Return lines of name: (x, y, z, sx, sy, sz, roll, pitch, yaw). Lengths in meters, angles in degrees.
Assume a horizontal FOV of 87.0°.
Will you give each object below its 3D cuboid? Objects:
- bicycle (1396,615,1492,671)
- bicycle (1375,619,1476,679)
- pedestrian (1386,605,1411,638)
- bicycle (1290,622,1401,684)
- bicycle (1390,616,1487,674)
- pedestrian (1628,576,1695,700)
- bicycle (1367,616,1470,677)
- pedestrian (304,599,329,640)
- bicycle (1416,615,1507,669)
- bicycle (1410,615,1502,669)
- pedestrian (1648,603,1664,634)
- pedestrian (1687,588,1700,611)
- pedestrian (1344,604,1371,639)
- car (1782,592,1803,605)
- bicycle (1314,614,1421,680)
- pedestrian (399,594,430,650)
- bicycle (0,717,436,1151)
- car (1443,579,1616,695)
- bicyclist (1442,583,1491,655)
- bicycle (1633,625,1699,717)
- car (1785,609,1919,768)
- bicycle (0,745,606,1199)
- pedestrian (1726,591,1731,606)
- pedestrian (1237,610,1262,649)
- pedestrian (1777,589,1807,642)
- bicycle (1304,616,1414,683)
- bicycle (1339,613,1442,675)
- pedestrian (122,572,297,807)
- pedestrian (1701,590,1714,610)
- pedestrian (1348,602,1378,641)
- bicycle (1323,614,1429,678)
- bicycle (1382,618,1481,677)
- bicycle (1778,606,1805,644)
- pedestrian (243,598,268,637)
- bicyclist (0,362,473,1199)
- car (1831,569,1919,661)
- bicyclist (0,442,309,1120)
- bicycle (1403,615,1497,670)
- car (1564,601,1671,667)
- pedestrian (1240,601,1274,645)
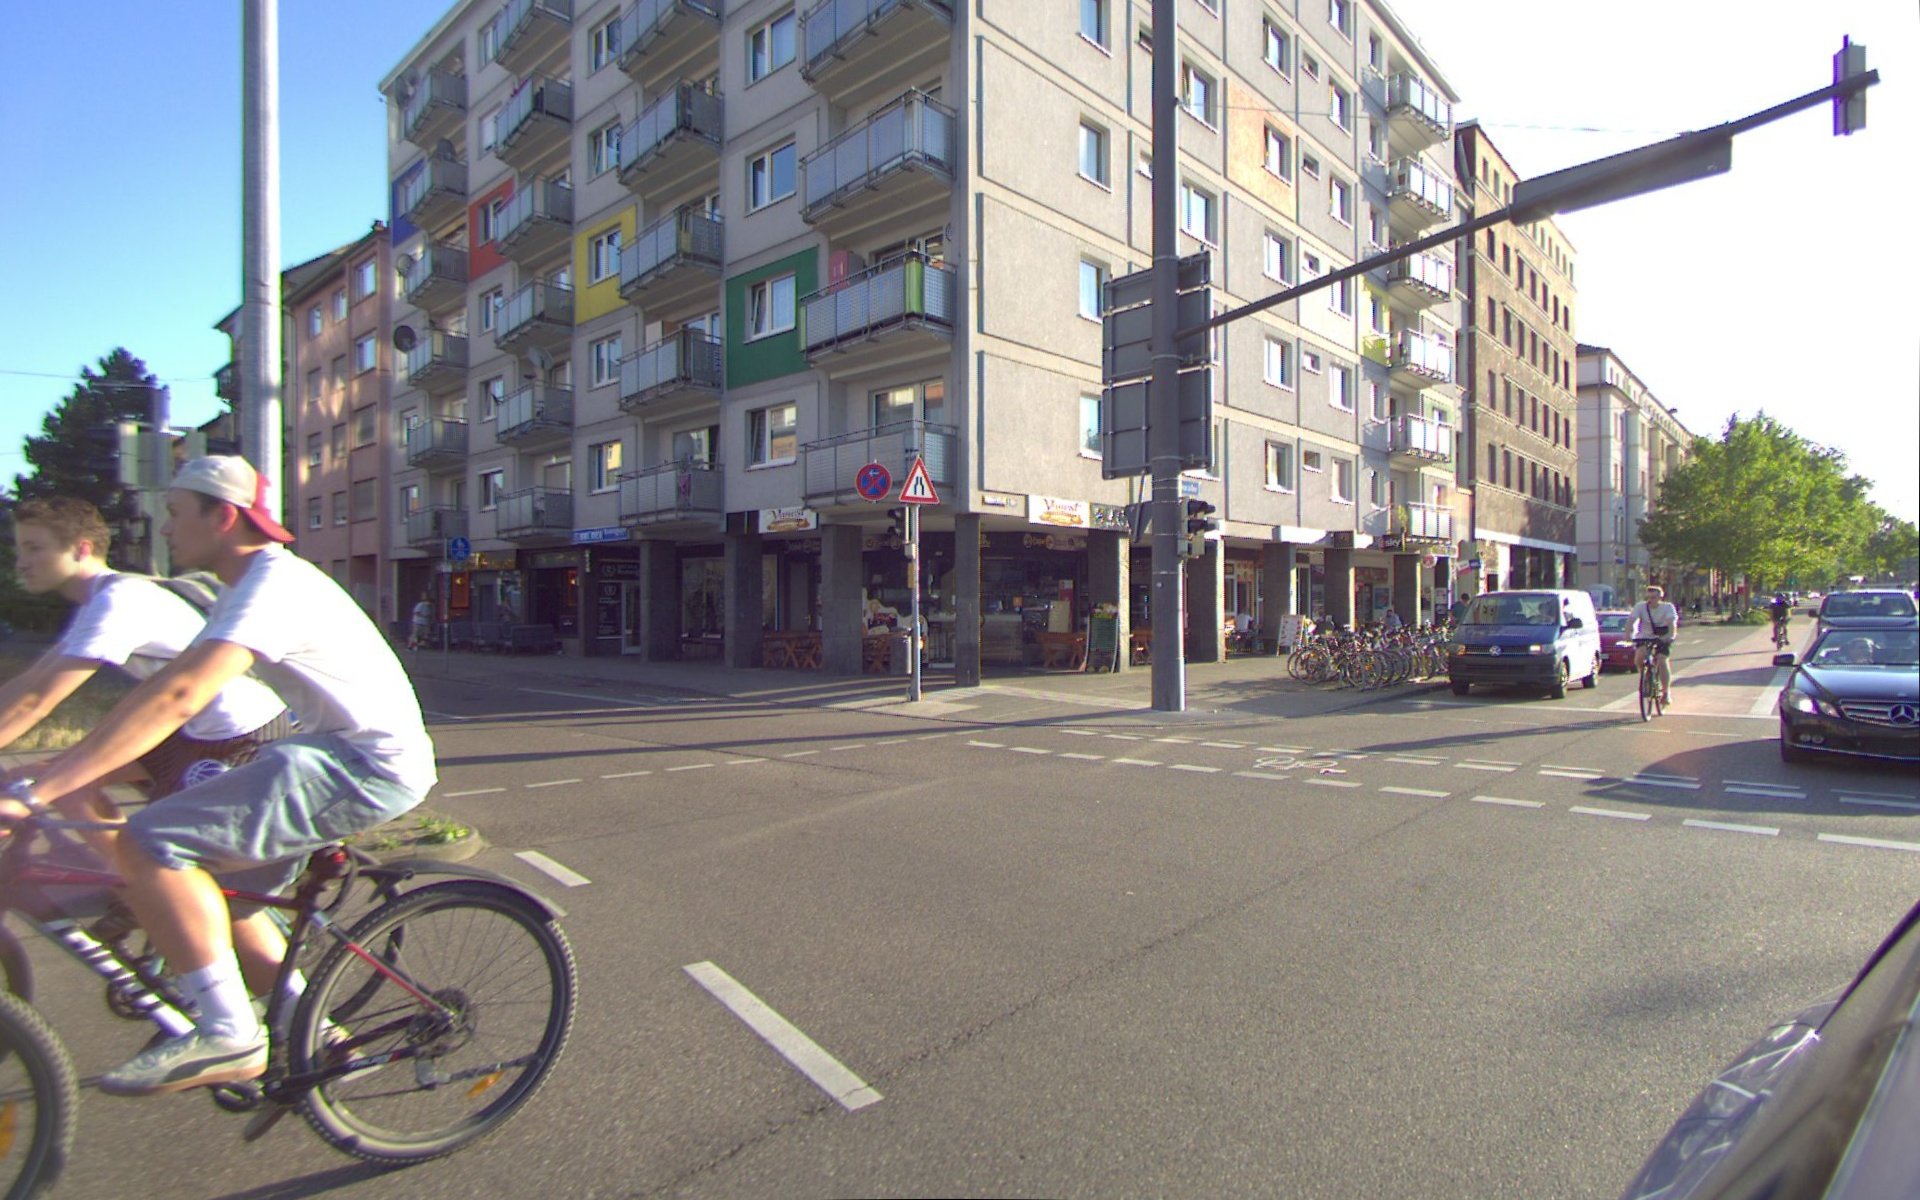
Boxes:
bicycle: (11.029, 0.962, 23.084, 1.865, 1.139, 0.560, 3, 2, 39)
bicycle: (9.978, 1.023, 21.752, 1.865, 1.139, 0.560, 3, 2, 39)
pedestrian: (15.576, 0.751, 35.969, 0.604, 1.166, 0.717, -1, -1, 42)
bicycle: (7.243, 0.978, 19.061, 1.865, 1.074, 0.598, 0, 0, 41)
bicycle: (10.685, 0.986, 22.642, 1.865, 1.139, 0.560, 3, 2, 39)
pedestrian: (9.863, 0.518, 14.220, 0.637, 1.670, 0.830, -2, -2, 42)
bicycle: (9.631, 0.952, 21.303, 1.865, 1.139, 0.560, 3, 2, 39)
pedestrian: (-25.547, 0.762, 40.184, 0.725, 1.596, 0.700, 0, 0, 42)
bicycle: (12.095, 0.994, 24.422, 1.865, 1.139, 0.560, 3, 2, 39)
bicycle: (11.738, 0.982, 23.973, 1.865, 1.139, 0.560, 3, 2, 39)
pedestrian: (36.743, 0.975, 53.423, 0.601, 1.616, 0.871, -1, -1, 42)
pedestrian: (54.525, -0.039, 75.232, 0.725, 1.697, 0.910, -1, -1, 41)
pedestrian: (14.250, 0.763, 36.287, 0.725, 1.247, 0.637, -1, -1, 44)
car: (99.000, -0.170, 120.286, 1.769, 1.501, 4.244, 0, 0, 42)
bicycle: (8.048, 0.902, 20.030, 1.865, 1.139, 0.560, 3, 2, 39)
pedestrian: (-17.899, 0.701, 33.211, 0.724, 1.798, 0.701, -1, -1, 40)
bicycle: (-2.680, 0.980, 3.101, 1.826, 1.041, 0.576, 0, 0, -44)
car: (11.062, 0.615, 19.474, 1.935, 1.958, 4.759, -1, 0, 42)
bicyclist: (13.280, 0.487, 26.520, 0.742, 1.830, 1.364, -1, -1, 45)
bicycle: (9.960, 0.961, 14.253, 0.528, 1.174, 1.821, -2, -1, 41)
car: (9.668, 0.784, 10.352, 1.769, 1.324, 4.177, -1, 0, 41)
bicycle: (-1.884, 0.983, 2.383, 1.946, 1.041, 0.479, 0, 0, -40)
pedestrian: (73.372, -0.157, 96.639, 0.351, 1.458, 0.310, 0, -1, -40)
pedestrian: (8.385, 0.853, 29.323, 0.639, 1.113, 0.541, -1, -1, 21)
pedestrian: (26.689, 0.489, 32.473, 0.676, 1.670, 0.888, -2, -2, 42)
bicycle: (7.687, 0.928, 19.565, 1.865, 1.139, 0.598, 3, 2, 39)
bicycle: (8.929, 0.884, 21.023, 1.865, 1.139, 0.560, 3, 2, 39)
pedestrian: (-5.964, 0.659, 8.060, 1.053, 1.726, 0.662, 0, -1, -43)
pedestrian: (55.066, 0.008, 74.561, 0.725, 1.458, 0.910, -1, -1, 41)
pedestrian: (13.827, 0.717, 34.730, 0.645, 1.311, 0.939, -1, -1, 45)
bicycle: (8.398, 0.902, 20.483, 1.865, 1.139, 0.560, 3, 2, 39)
bicycle: (10.325, 1.015, 22.199, 1.865, 1.139, 0.560, 3, 2, 39)
bicycle: (26.634, 0.793, 32.419, 0.528, 1.174, 1.820, -2, -1, 43)
pedestrian: (-29.149, 0.729, 41.861, 0.724, 1.596, 0.701, 0, 0, 40)
bicyclist: (-1.858, 0.459, 2.457, 1.039, 1.830, 0.828, 0, -1, -41)
car: (22.200, 0.310, 24.296, 1.913, 2.015, 4.873, -1, 0, 41)
bicyclist: (-2.662, 0.486, 3.137, 0.977, 1.830, 0.674, 0, -1, -44)
bicycle: (11.383, 0.964, 23.528, 1.865, 1.139, 0.560, 3, 2, 39)
car: (16.583, 0.823, 25.466, 1.681, 1.499, 3.485, -3, -2, 42)
pedestrian: (8.795, 0.672, 30.030, 0.633, 1.290, 0.862, 0, 0, -10)
